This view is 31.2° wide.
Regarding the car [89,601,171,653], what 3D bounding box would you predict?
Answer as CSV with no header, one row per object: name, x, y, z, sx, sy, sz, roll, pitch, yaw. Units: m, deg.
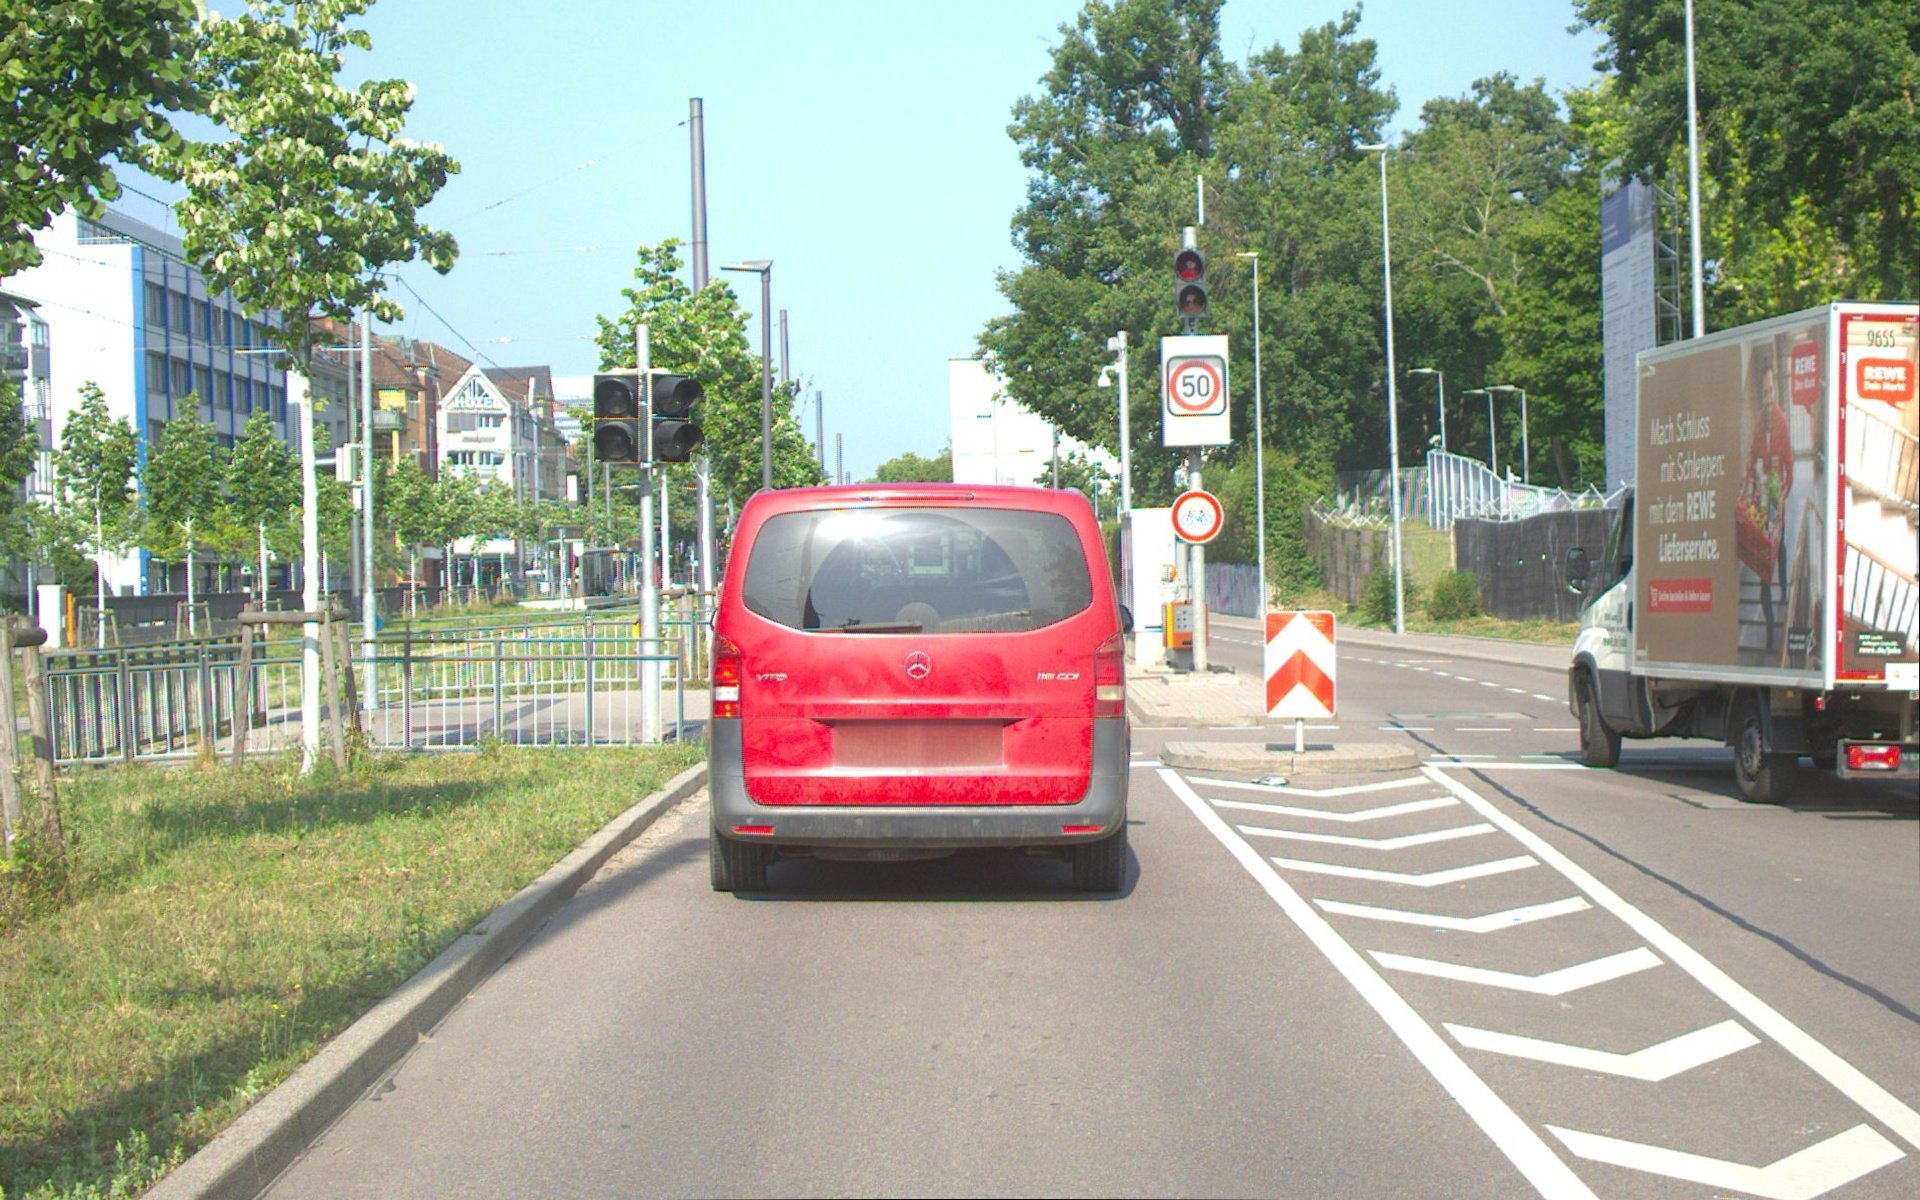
car,-29.345,0.936,121.596,1.917,1.807,4.000,1,0,0

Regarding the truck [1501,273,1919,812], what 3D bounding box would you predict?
truck,5.823,-0.314,23.449,2.502,3.050,7.821,1,0,-4

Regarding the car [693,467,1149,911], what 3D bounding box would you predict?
car,-0.154,0.359,16.501,1.901,1.853,4.000,1,0,0

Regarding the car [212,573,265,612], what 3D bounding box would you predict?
car,-30.009,-0.318,143.115,1.518,1.459,3.825,-2,2,-2
